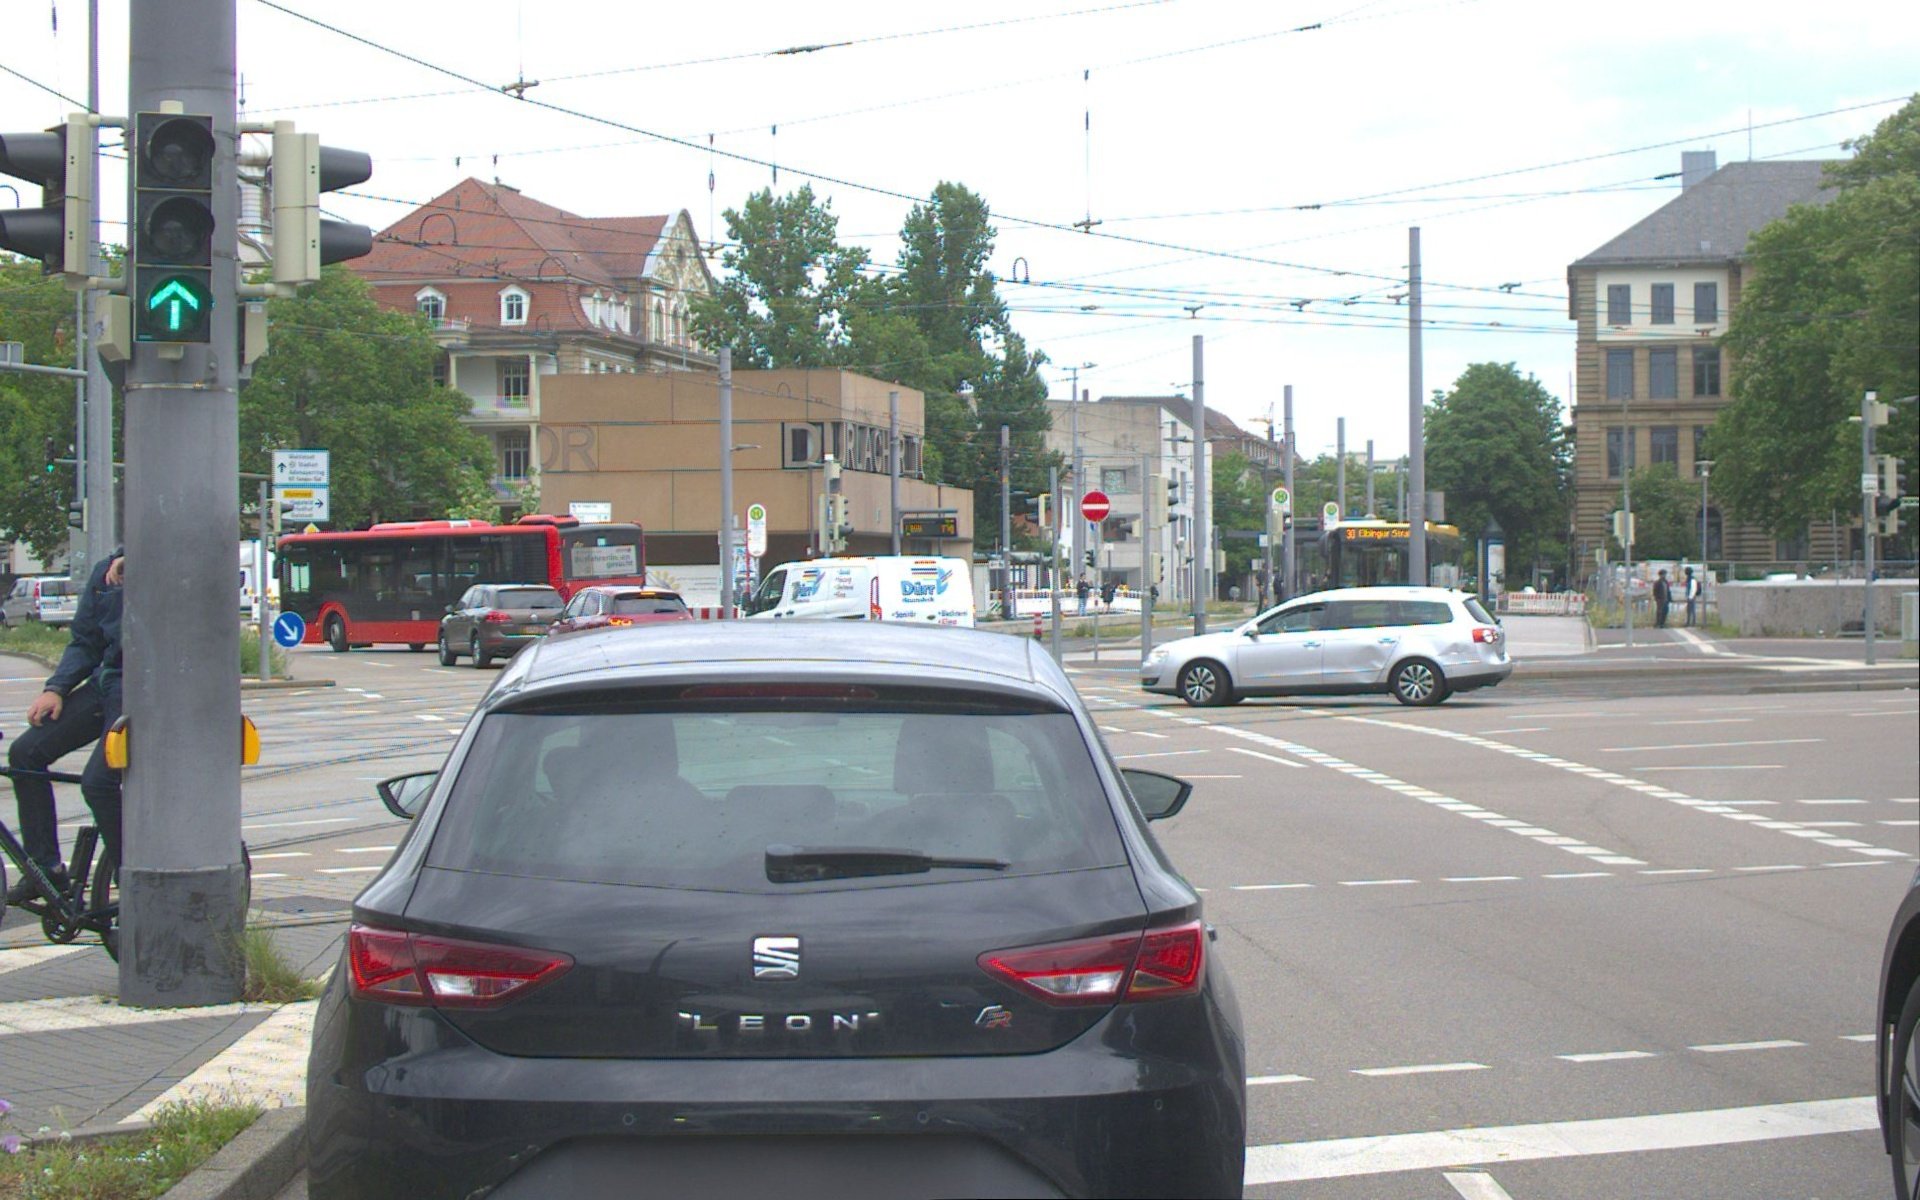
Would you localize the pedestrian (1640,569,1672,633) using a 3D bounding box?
[{"bbox_3d":[20.431,0.035,100.914,0.824,1.847,1.020,-1,0,15],"label":"pedestrian"}]

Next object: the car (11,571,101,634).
[{"bbox_3d":[-29.999,0.071,114.021,1.993,2.007,4.000,-1,0,-28],"label":"car"}]

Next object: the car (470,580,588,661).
[{"bbox_3d":[-8.699,0.383,69.141,1.993,1.560,4.206,-1,0,-12],"label":"car"}]

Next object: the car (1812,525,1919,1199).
[{"bbox_3d":[2.997,0.672,5.748,1.903,1.652,4.515,-1,0,-1],"label":"car"}]

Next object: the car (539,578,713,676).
[{"bbox_3d":[-5.776,0.440,59.053,1.857,1.595,4.206,-1,1,-22],"label":"car"}]

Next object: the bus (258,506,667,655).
[{"bbox_3d":[-11.970,-0.424,81.293,3.060,3.286,12.372,0,0,-43],"label":"bus"}]

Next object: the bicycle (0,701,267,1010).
[{"bbox_3d":[-3.430,0.941,12.756,1.609,1.066,0.528,-1,0,-40],"label":"bicycle"}]

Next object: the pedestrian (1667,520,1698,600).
[{"bbox_3d":[38.267,-2.125,182.157,1.307,4.239,1.347,0,0,0],"label":"pedestrian"}]

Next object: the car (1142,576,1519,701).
[{"bbox_3d":[4.780,0.488,44.210,4.616,1.477,1.725,-1,1,14],"label":"car"}]

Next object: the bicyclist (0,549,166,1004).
[{"bbox_3d":[-3.384,0.635,12.786,0.653,1.633,0.517,-1,0,-40],"label":"bicyclist"}]

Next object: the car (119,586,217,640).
[{"bbox_3d":[-23.353,0.364,101.247,1.993,1.534,4.001,-1,0,-25],"label":"car"}]

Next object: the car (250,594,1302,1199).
[{"bbox_3d":[-0.333,0.734,7.724,1.746,1.459,4.000,0,0,-1],"label":"car"}]

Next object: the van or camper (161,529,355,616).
[{"bbox_3d":[-28.055,-1.118,137.617,7.134,3.321,2.875,-1,-1,-45],"label":"van or camper"}]

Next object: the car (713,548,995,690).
[{"bbox_3d":[-1.650,0.254,51.375,1.993,2.012,5.032,-1,1,-31],"label":"car"}]

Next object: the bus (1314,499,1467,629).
[{"bbox_3d":[11.824,-0.967,93.269,3.018,3.257,13.036,0,0,12],"label":"bus"}]

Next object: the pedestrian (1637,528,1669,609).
[{"bbox_3d":[36.716,-1.654,182.101,1.387,4.239,1.347,0,0,0],"label":"pedestrian"}]
